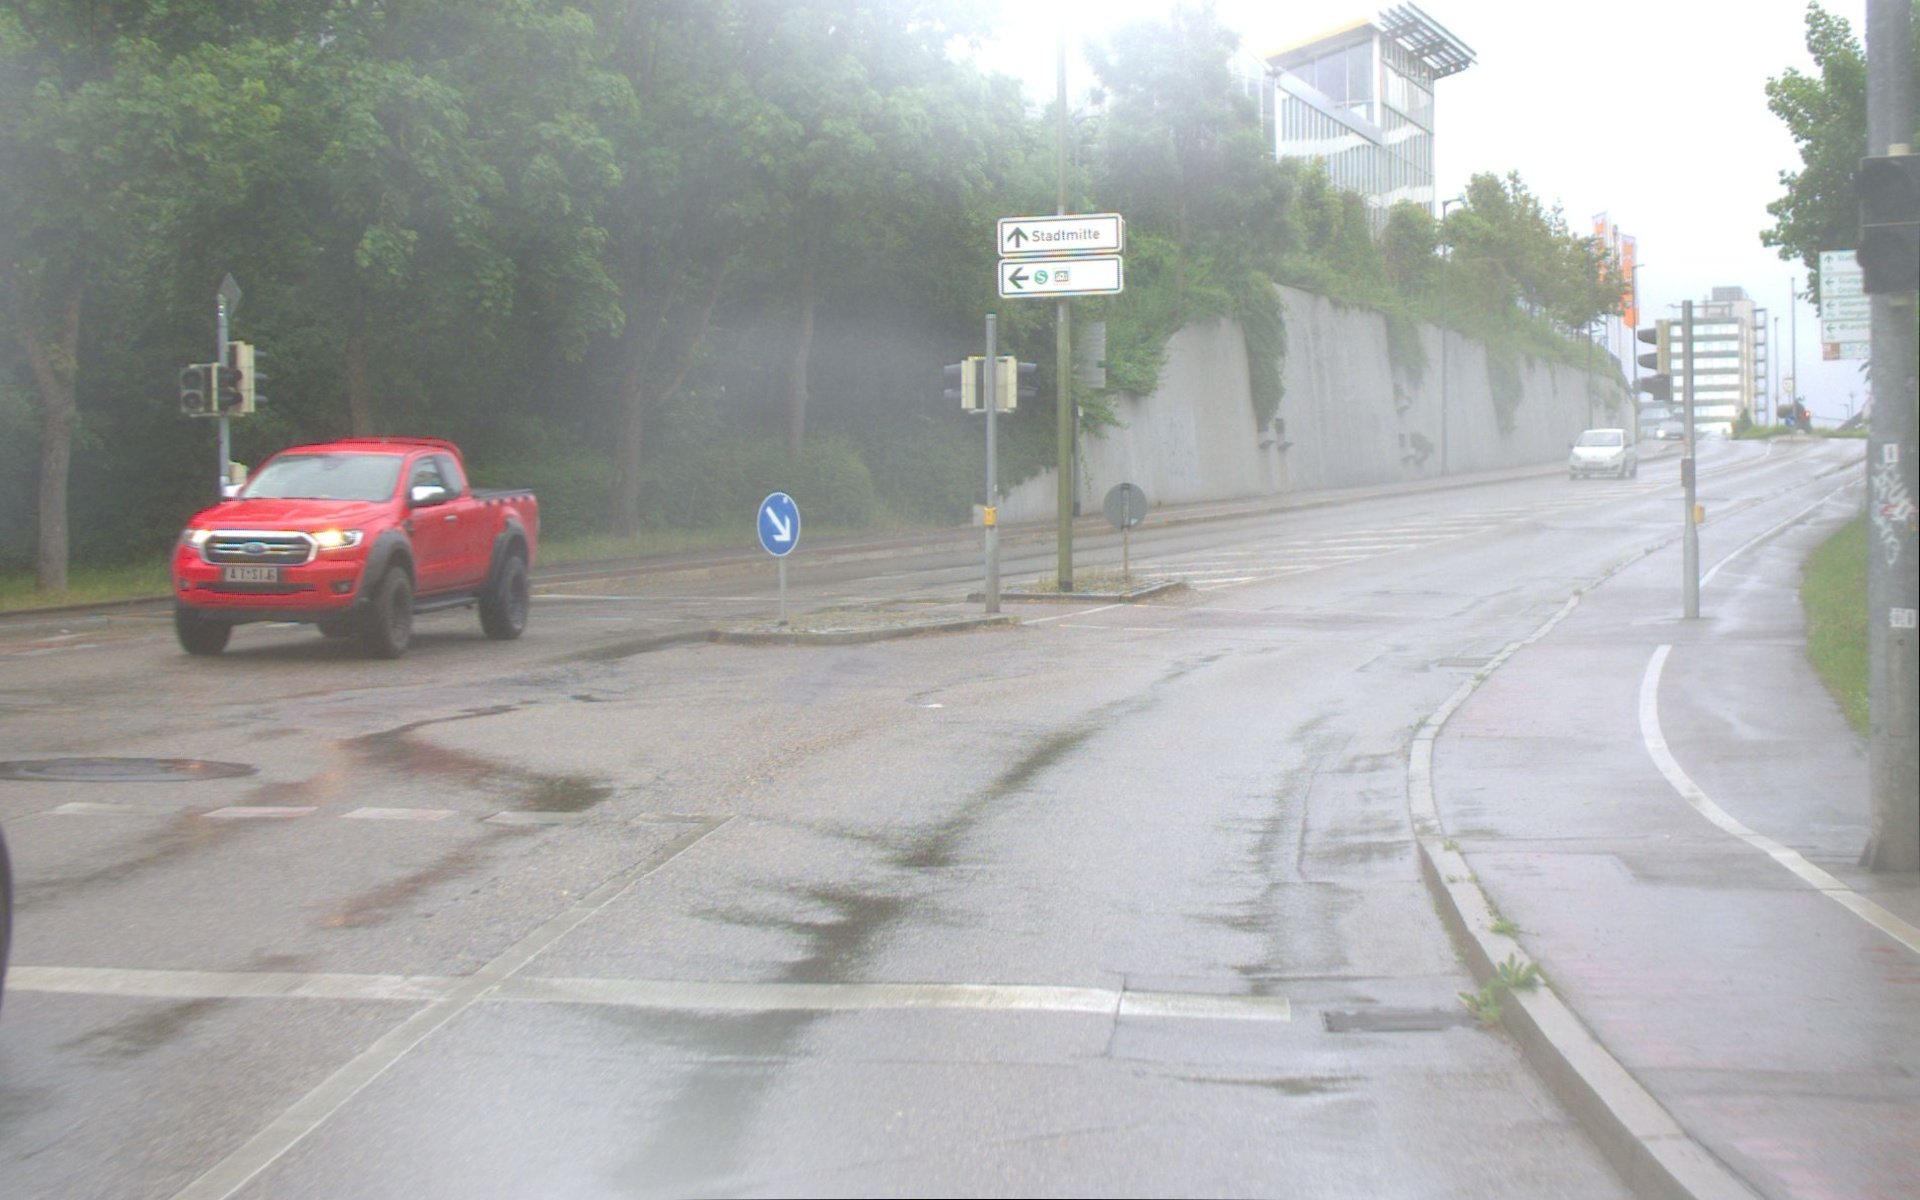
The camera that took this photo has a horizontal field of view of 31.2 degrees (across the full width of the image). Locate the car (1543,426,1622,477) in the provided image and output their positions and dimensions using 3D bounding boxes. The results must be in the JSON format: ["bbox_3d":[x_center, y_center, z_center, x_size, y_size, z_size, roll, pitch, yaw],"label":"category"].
[{"bbox_3d":[18.711,-4.443,103.425,1.512,1.443,3.817,1,1,-3],"label":"car"}]

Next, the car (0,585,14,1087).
[{"bbox_3d":[-3.554,0.667,7.622,1.754,1.391,4.000,1,1,1],"label":"car"}]

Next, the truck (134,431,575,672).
[{"bbox_3d":[-5.441,-0.547,31.752,1.995,2.006,5.335,1,3,14],"label":"truck"}]
